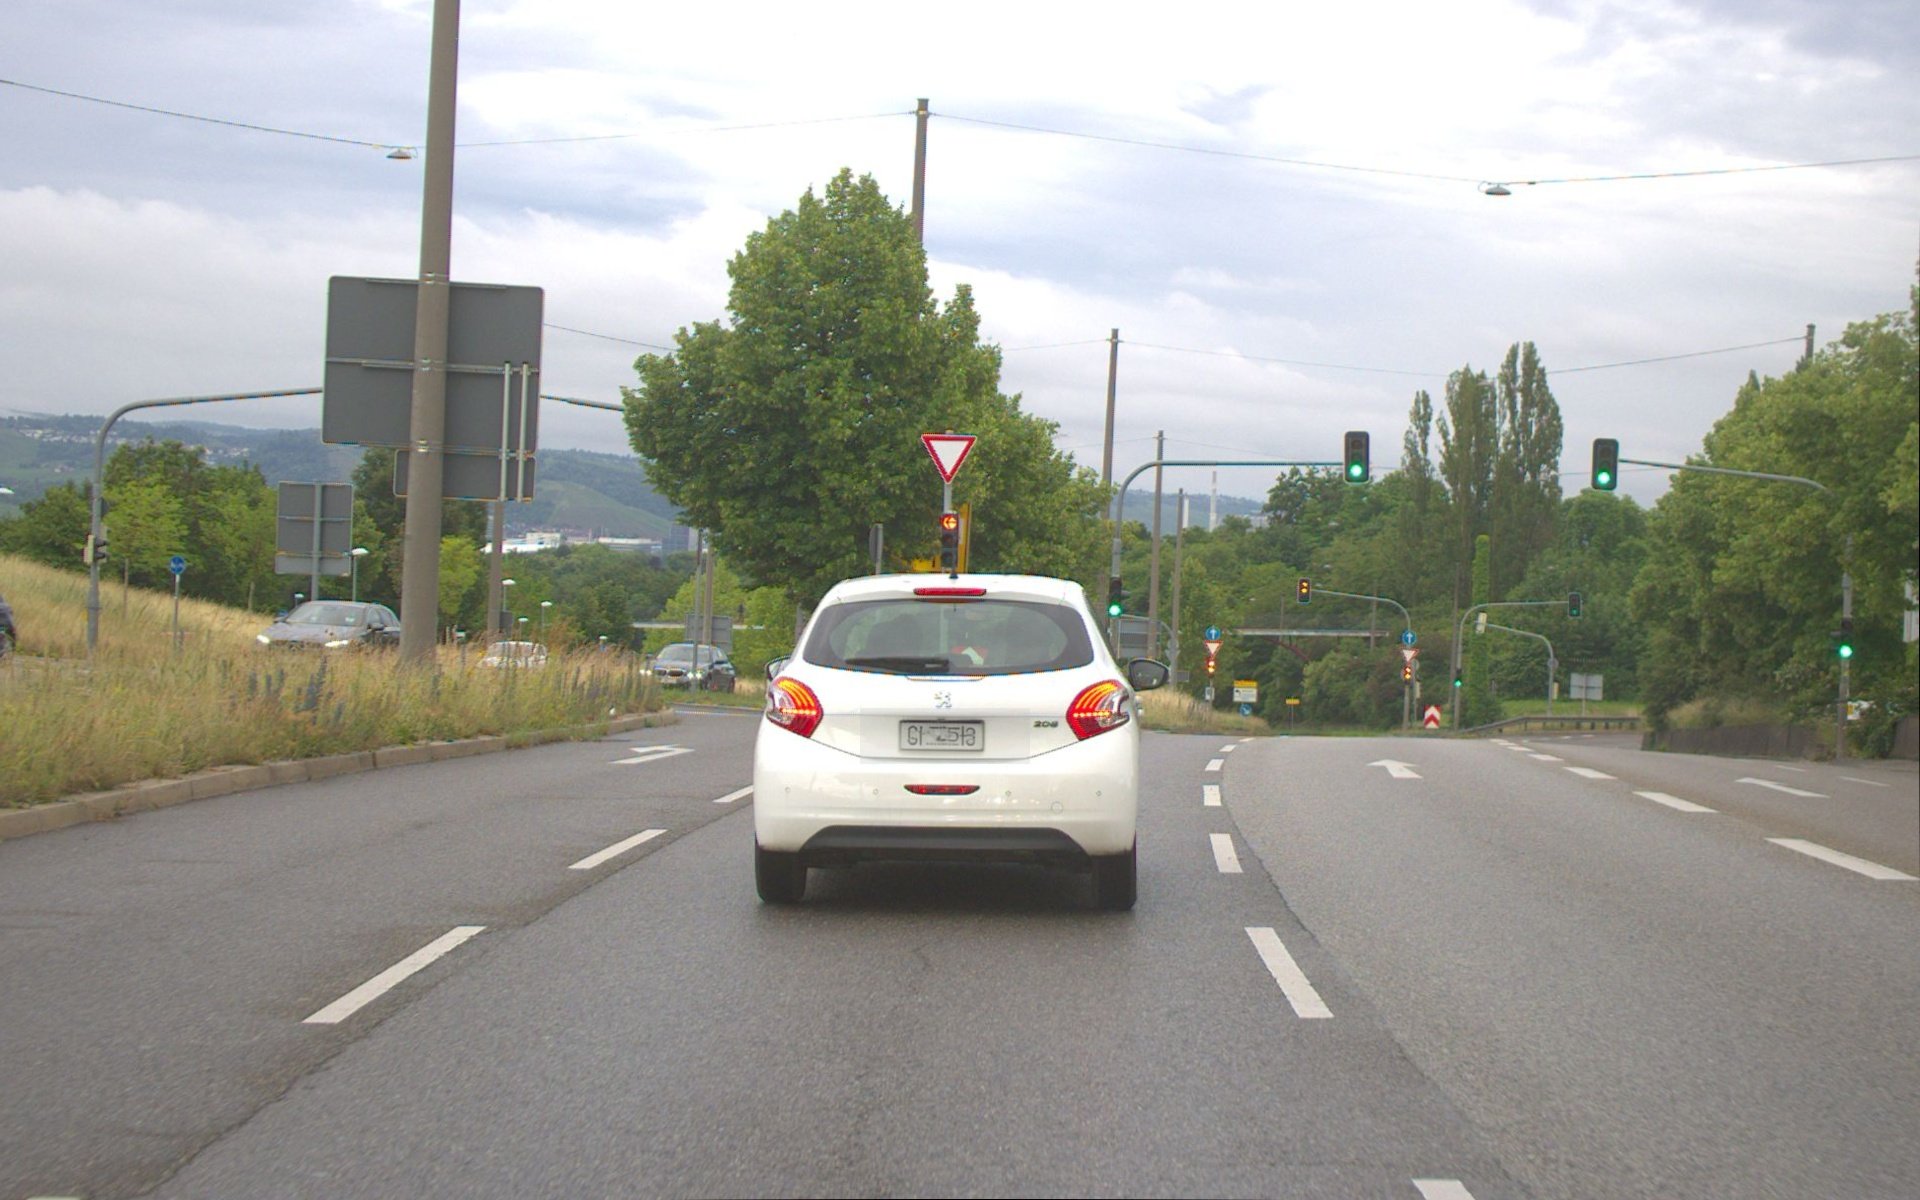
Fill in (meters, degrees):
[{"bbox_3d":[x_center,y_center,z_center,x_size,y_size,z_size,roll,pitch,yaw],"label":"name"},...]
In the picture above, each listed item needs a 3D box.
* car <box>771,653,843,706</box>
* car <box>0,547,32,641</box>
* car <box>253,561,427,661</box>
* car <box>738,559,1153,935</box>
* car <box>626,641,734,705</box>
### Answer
[{"bbox_3d":[-4.749,2.489,106.904,1.538,1.499,3.660,3,-2,8],"label":"car"},{"bbox_3d":[-15.383,-0.185,50.749,1.768,1.379,3.998,3,-2,8],"label":"car"},{"bbox_3d":[-10.765,0.213,59.931,1.768,1.513,3.998,3,-2,8],"label":"car"},{"bbox_3d":[-0.054,0.593,16.207,1.708,1.435,3.691,1,2,0],"label":"car"},{"bbox_3d":[-7.120,1.887,87.838,1.751,1.499,4.462,3,-1,8],"label":"car"}]
